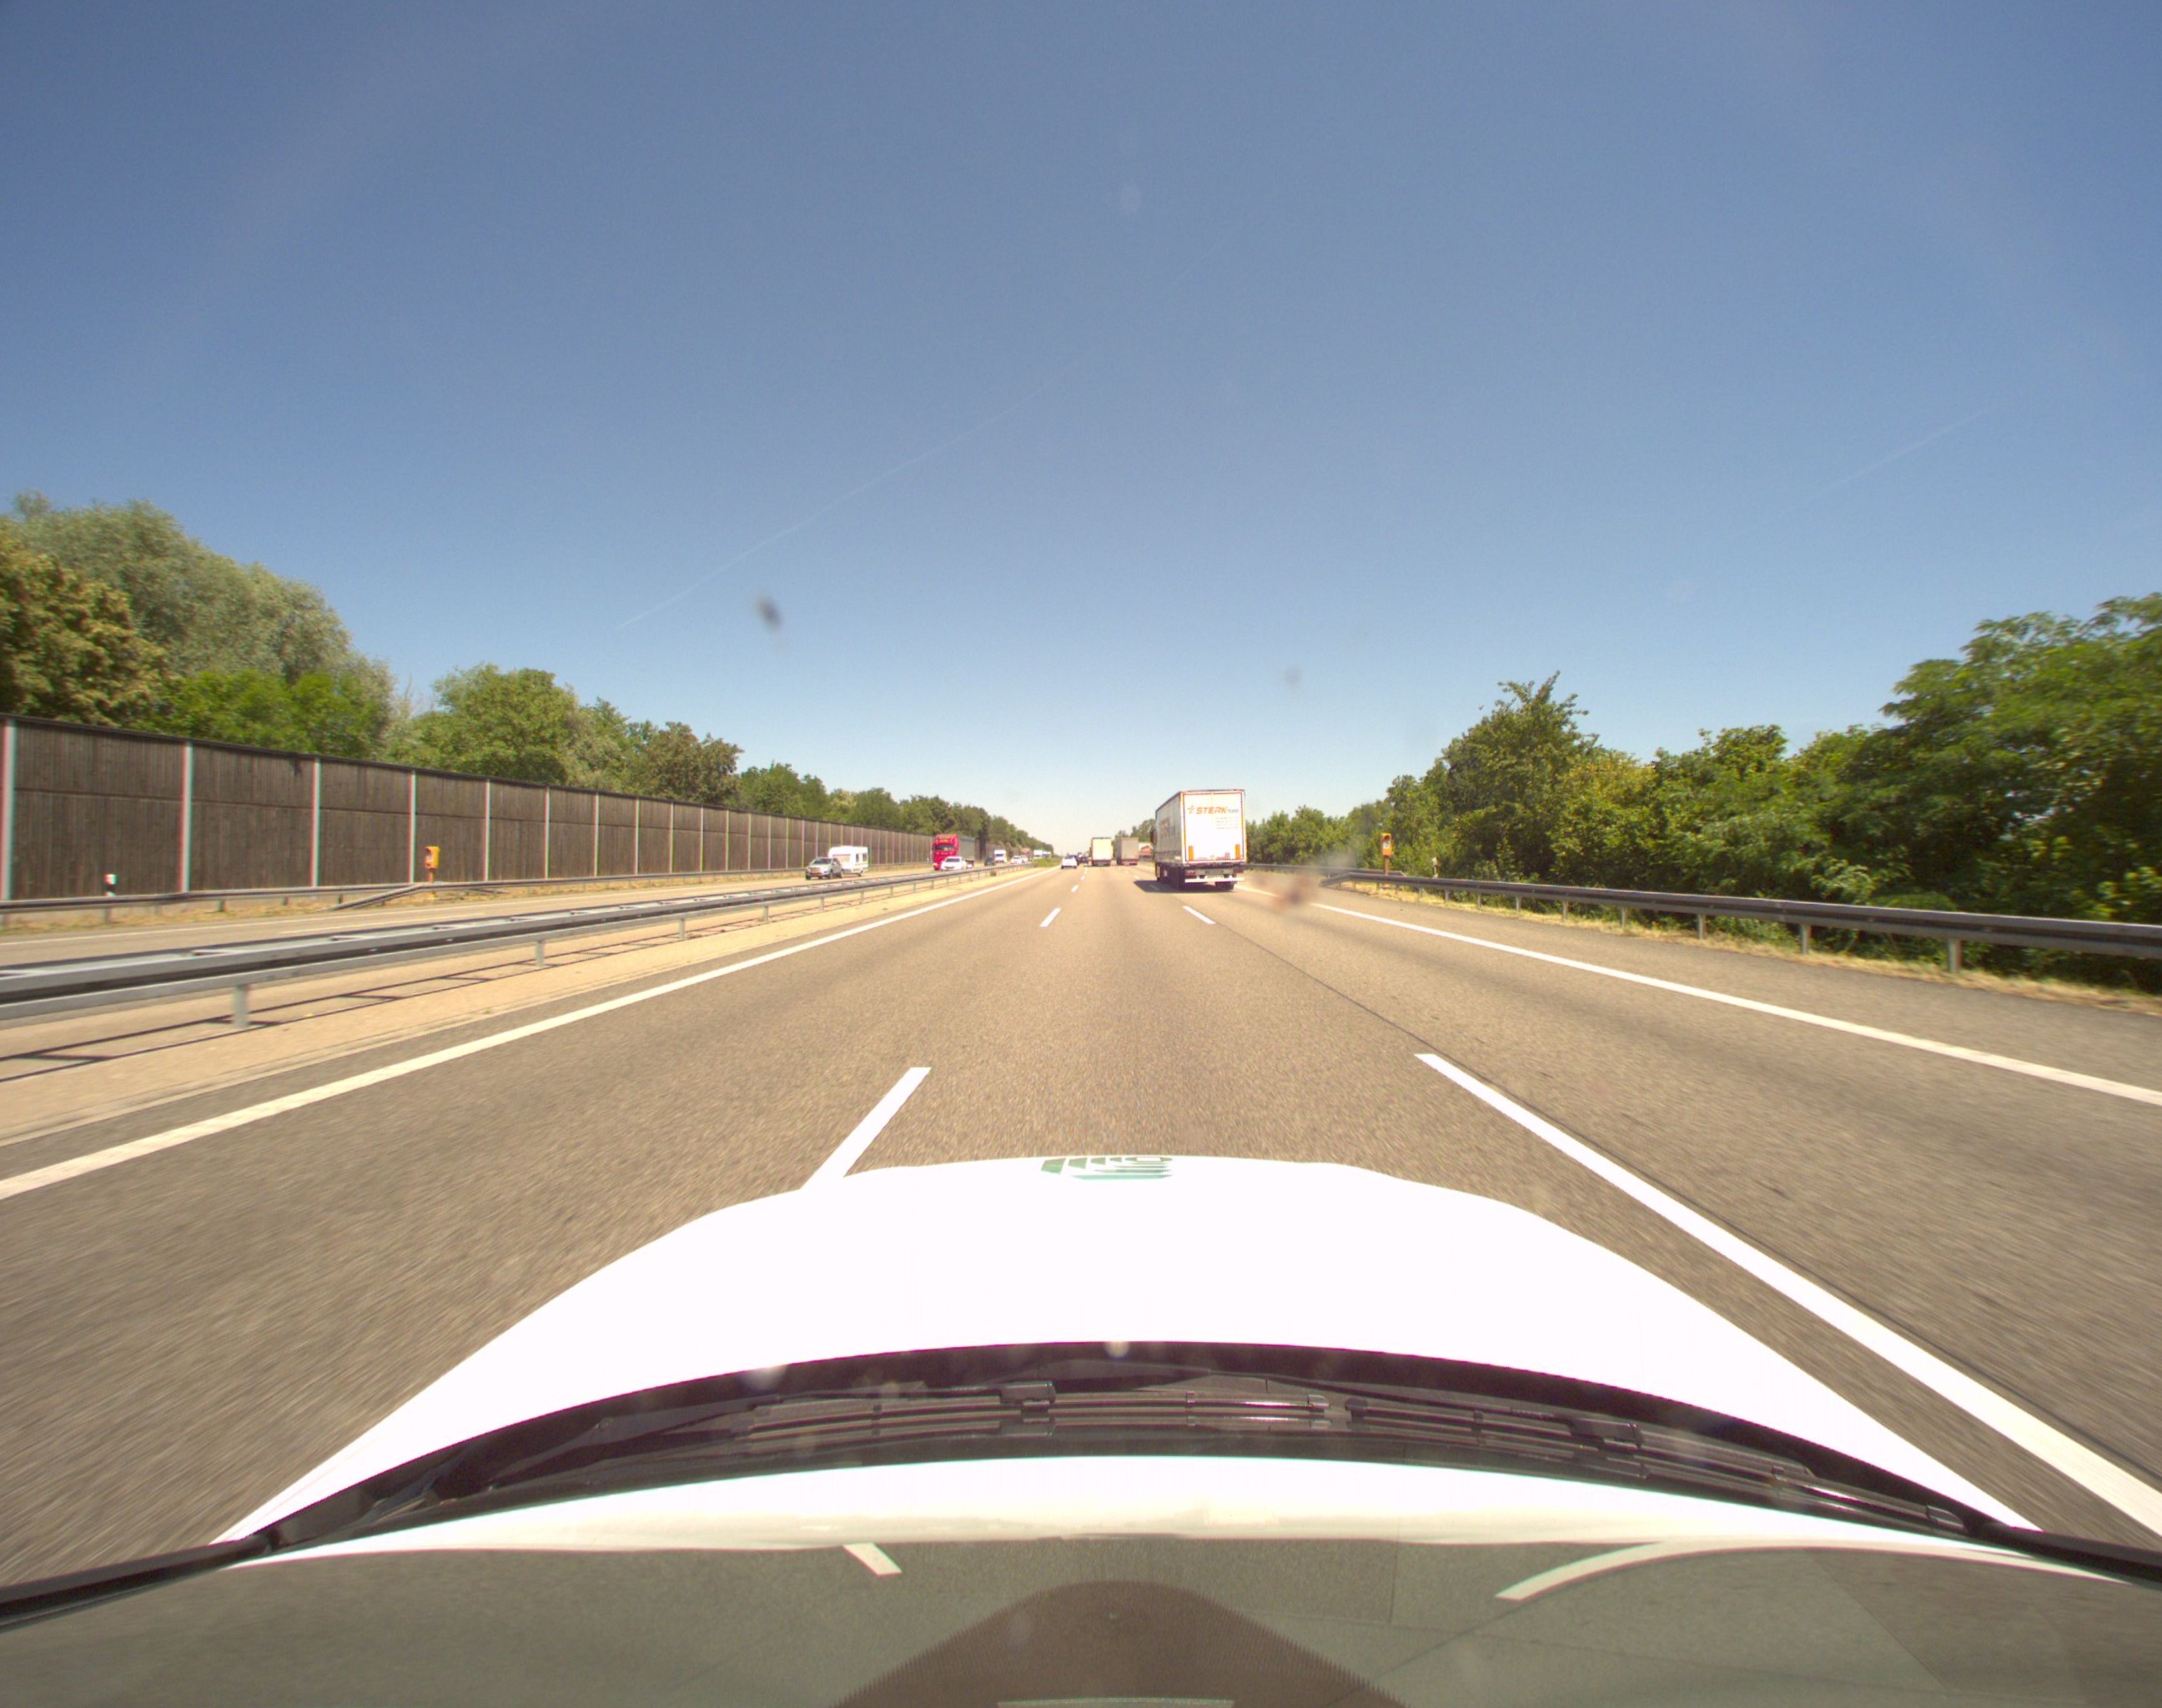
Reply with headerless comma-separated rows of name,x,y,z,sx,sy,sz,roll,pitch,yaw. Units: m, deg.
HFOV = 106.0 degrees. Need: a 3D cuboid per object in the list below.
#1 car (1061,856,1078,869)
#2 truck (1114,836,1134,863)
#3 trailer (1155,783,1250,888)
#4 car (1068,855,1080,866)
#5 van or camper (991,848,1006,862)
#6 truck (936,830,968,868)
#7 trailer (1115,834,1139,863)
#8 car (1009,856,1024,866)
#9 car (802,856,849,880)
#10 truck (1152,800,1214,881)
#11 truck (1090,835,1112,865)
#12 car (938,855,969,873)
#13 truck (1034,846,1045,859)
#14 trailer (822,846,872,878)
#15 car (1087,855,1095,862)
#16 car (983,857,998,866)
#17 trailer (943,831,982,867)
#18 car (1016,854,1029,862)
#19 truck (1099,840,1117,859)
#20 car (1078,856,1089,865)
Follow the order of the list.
car,-1.347,0.995,96.514,1.849,1.486,3.999,-1,0,0
truck,6.770,-0.688,129.769,2.683,4.215,7.834,0,0,-1
trailer,5.366,-0.684,38.810,2.697,4.088,14.154,0,0,1
car,-1.101,0.991,126.380,1.849,1.617,3.999,-1,0,0
van or camper,-18.282,0.291,181.133,2.550,2.913,7.373,4,0,0
truck,-14.761,-0.553,93.712,2.349,4.076,7.155,-1,0,1
trailer,6.866,-0.703,124.350,2.695,4.216,13.204,0,0,-1
car,-10.463,1.079,131.933,1.797,1.544,4.249,-1,0,3
car,-18.914,1.005,60.462,1.893,1.711,4.906,-1,0,0
truck,5.495,-0.658,44.900,2.697,4.088,6.966,0,0,1
truck,2.792,-0.542,118.003,2.699,4.086,13.466,0,0,-1
car,-11.078,0.838,70.877,1.892,1.521,4.419,-1,0,1
truck,-10.343,-0.341,205.469,2.402,3.352,6.918,-1,0,0
trailer,-18.898,0.618,66.042,2.124,2.476,6.268,-1,0,0
car,2.580,1.187,207.902,1.850,1.617,3.998,-1,0,-1
car,-15.176,1.281,136.233,1.913,1.375,4.582,-1,0,1
trailer,-14.567,-0.546,101.343,2.332,4.076,14.213,-1,0,1
car,-11.399,0.835,159.003,1.912,1.546,4.583,-1,0,2
truck,6.695,-1.092,205.007,3.367,4.303,11.436,2,0,-3
car,0.487,1.152,149.581,1.850,1.617,3.997,-1,0,-1
